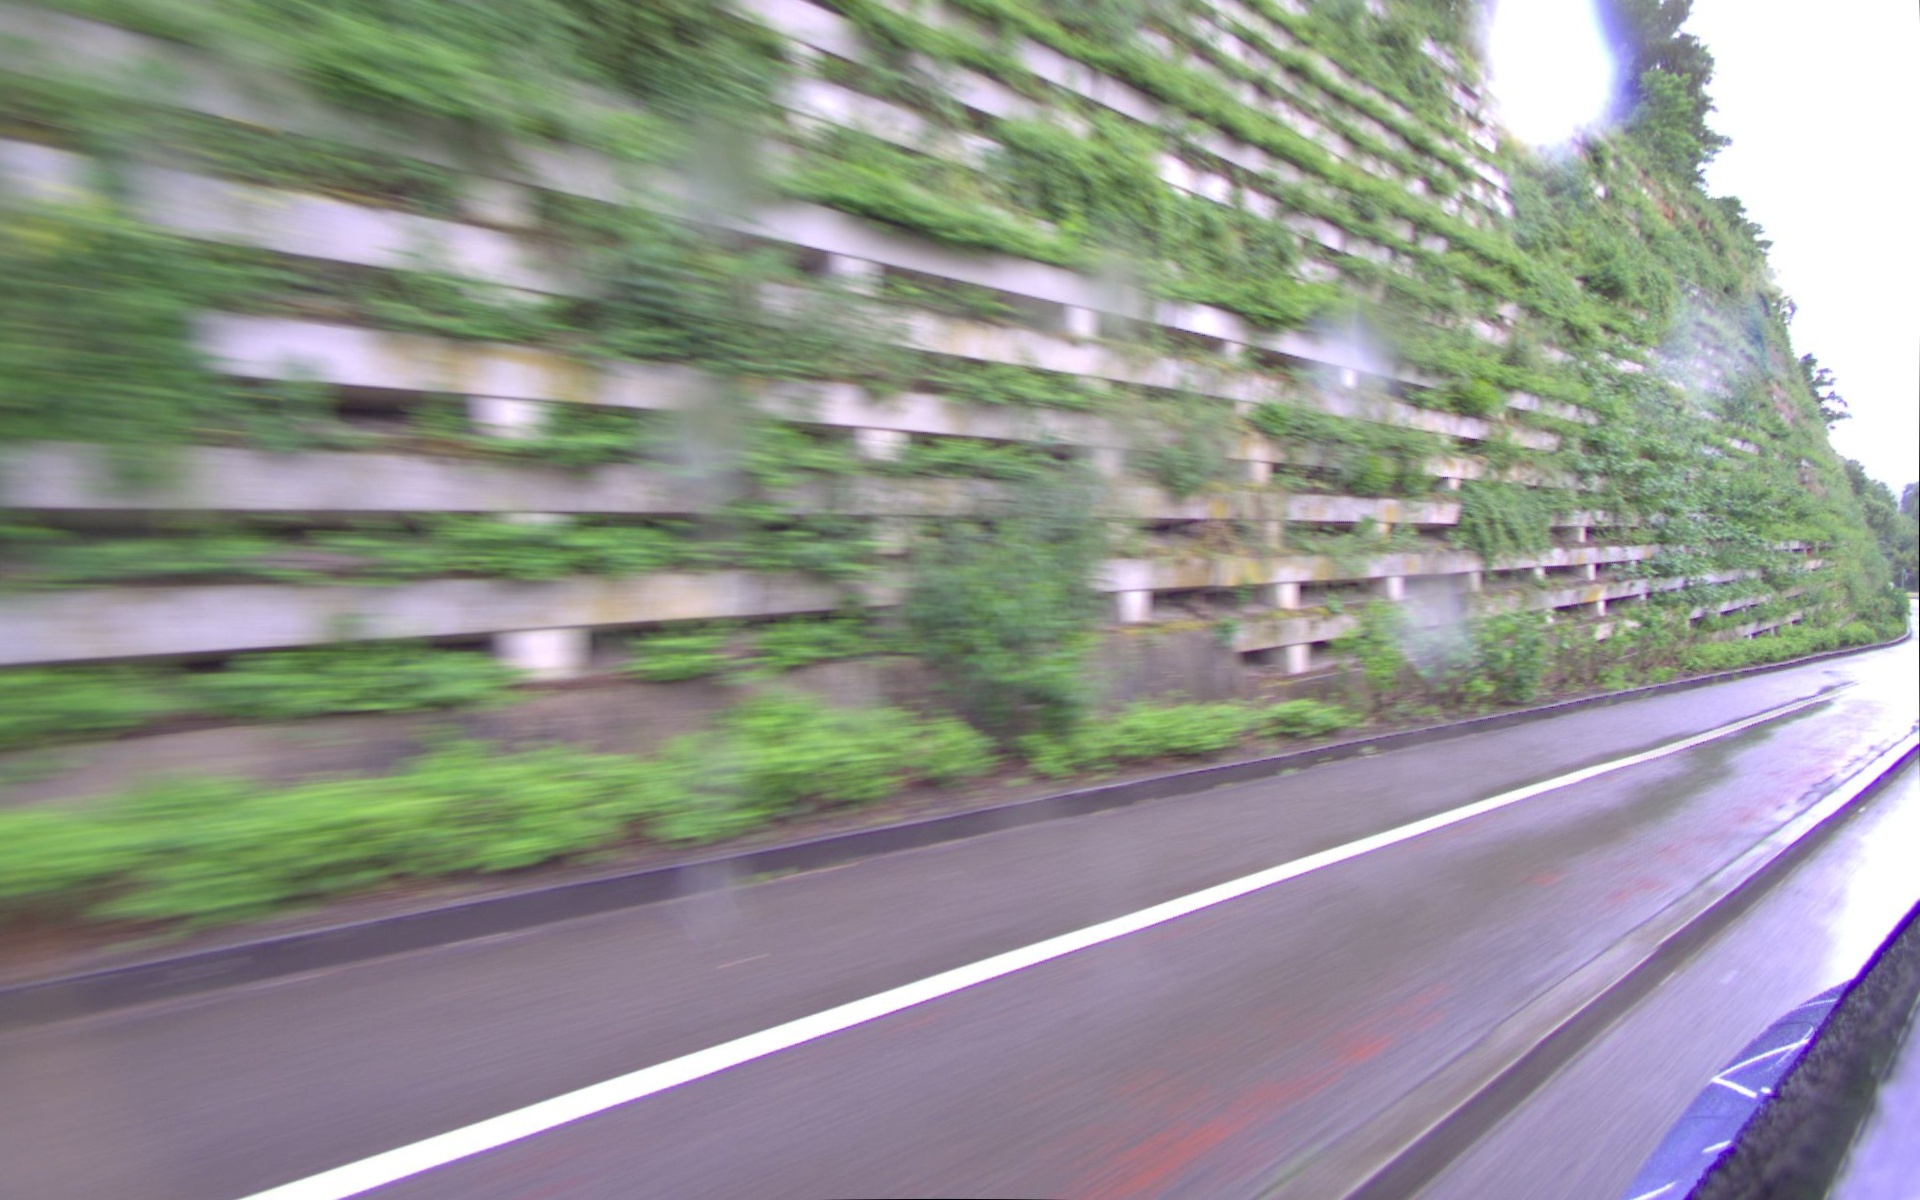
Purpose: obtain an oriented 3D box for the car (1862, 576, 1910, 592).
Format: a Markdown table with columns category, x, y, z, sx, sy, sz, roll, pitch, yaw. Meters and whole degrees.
| category | x | y | z | sx | sy | sz | roll | pitch | yaw |
| --- | --- | --- | --- | --- | --- | --- | --- | --- | --- |
| car | 109.104 | -1.940 | 119.271 | 3.991 | 1.592 | 1.644 | 7 | 6 | 45 |
